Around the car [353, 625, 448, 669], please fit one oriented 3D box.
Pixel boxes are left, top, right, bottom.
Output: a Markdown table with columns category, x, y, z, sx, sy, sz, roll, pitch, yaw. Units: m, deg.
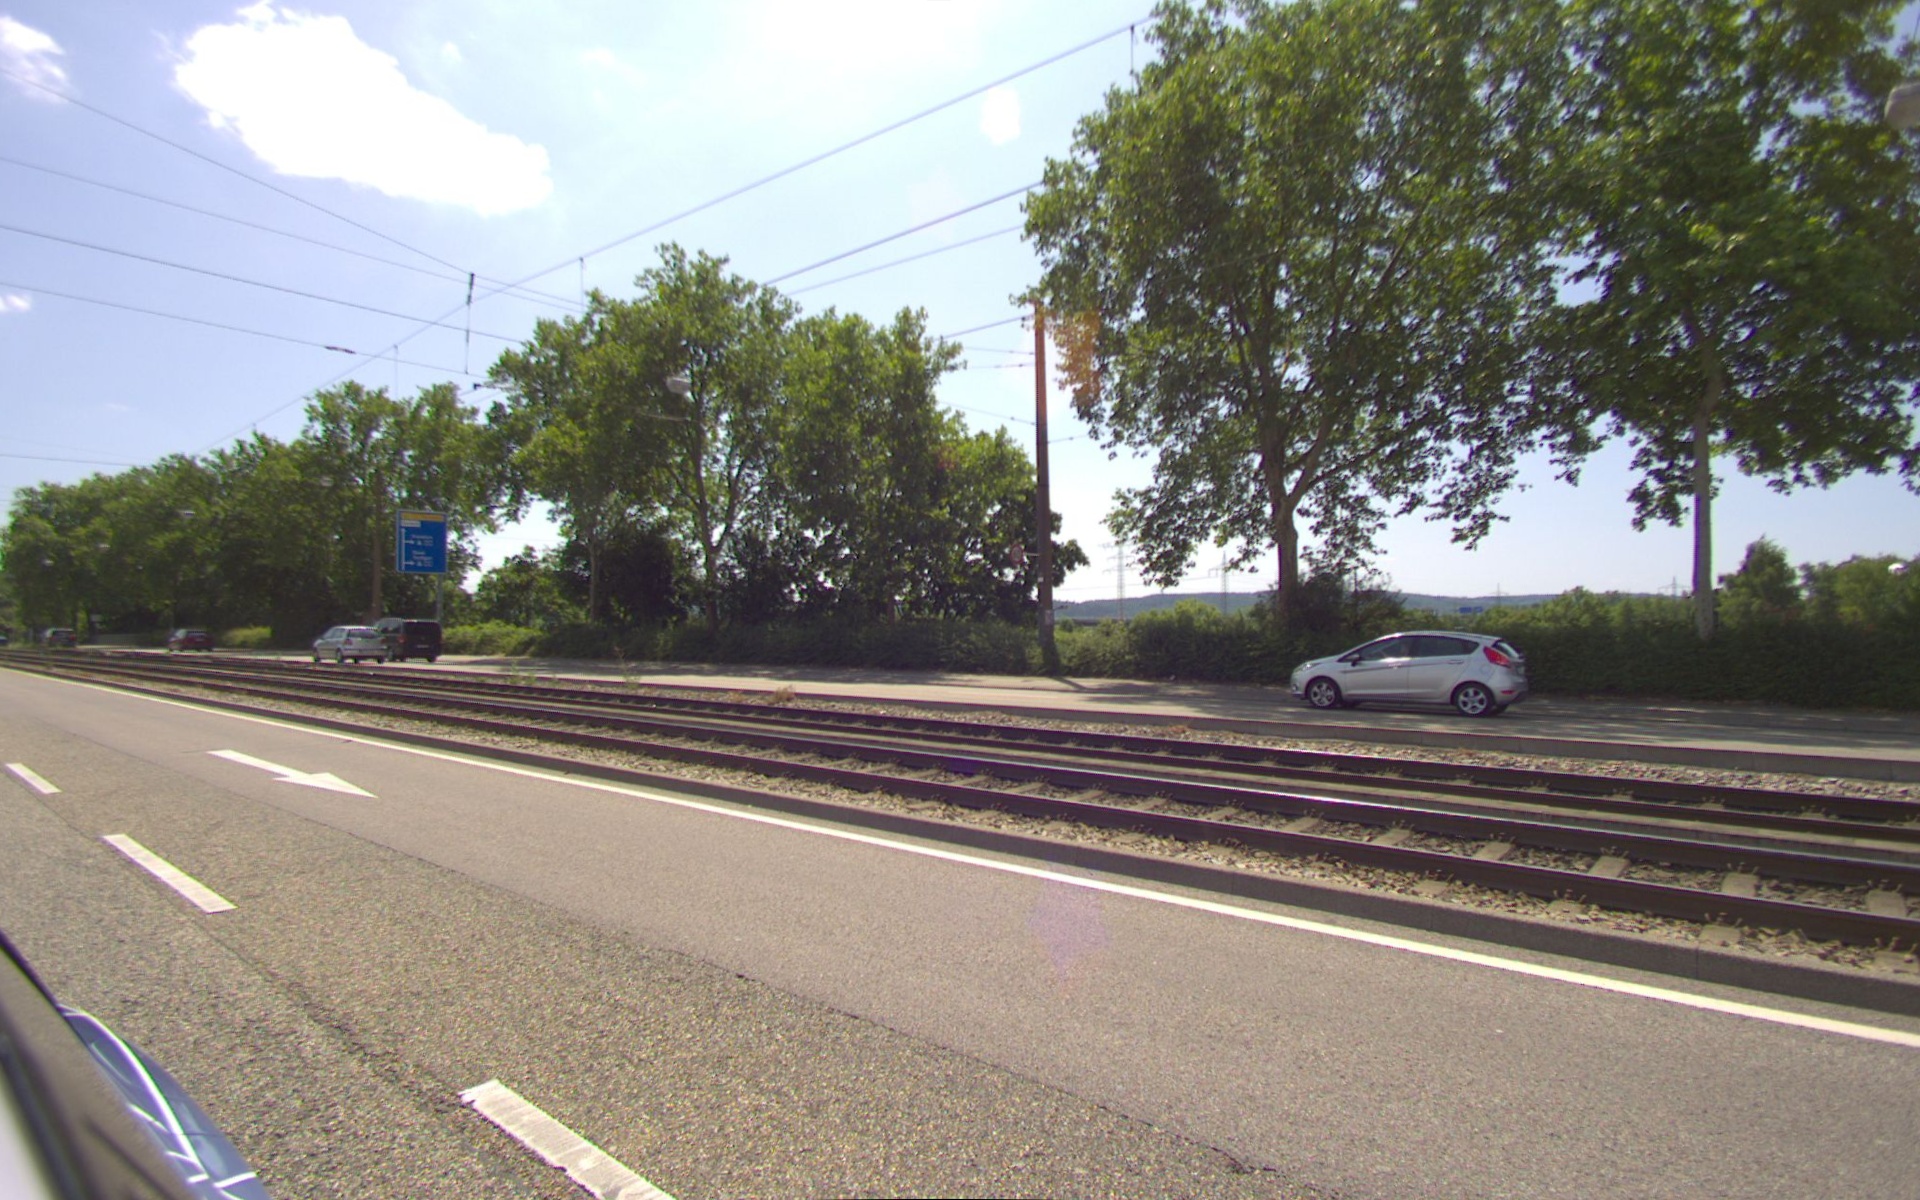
| category | x | y | z | sx | sy | sz | roll | pitch | yaw |
| --- | --- | --- | --- | --- | --- | --- | --- | --- | --- |
| car | -24.903 | 2.105 | 44.977 | 4.965 | 1.845 | 1.973 | -2 | -4 | 40 |

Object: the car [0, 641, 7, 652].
| category | x | y | z | sx | sy | sz | roll | pitch | yaw |
| --- | --- | --- | --- | --- | --- | --- | --- | --- | --- |
| car | -129.009 | 6.201 | 135.197 | 4.731 | 1.515 | 1.780 | -2 | -4 | 40 |

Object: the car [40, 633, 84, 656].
| category | x | y | z | sx | sy | sz | roll | pitch | yaw |
| --- | --- | --- | --- | --- | --- | --- | --- | --- | --- |
| car | -76.252 | 3.762 | 85.890 | 4.965 | 1.845 | 1.973 | -2 | -5 | 40 |

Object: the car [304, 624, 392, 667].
| category | x | y | z | sx | sy | sz | roll | pitch | yaw |
| --- | --- | --- | --- | --- | --- | --- | --- | --- | --- |
| car | -24.074 | 1.783 | 39.748 | 4.055 | 1.596 | 1.668 | -2 | -5 | 40 |

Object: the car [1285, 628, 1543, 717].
| category | x | y | z | sx | sy | sz | roll | pitch | yaw |
| --- | --- | --- | --- | --- | --- | --- | --- | --- | --- |
| car | 8.055 | 1.247 | 18.115 | 3.879 | 1.427 | 1.804 | -2 | -4 | 39 |

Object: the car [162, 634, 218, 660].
| category | x | y | z | sx | sy | sz | roll | pitch | yaw |
| --- | --- | --- | --- | --- | --- | --- | --- | --- | --- |
| car | -51.236 | 3.147 | 67.342 | 4.464 | 1.683 | 1.973 | -2 | -4 | 40 |
